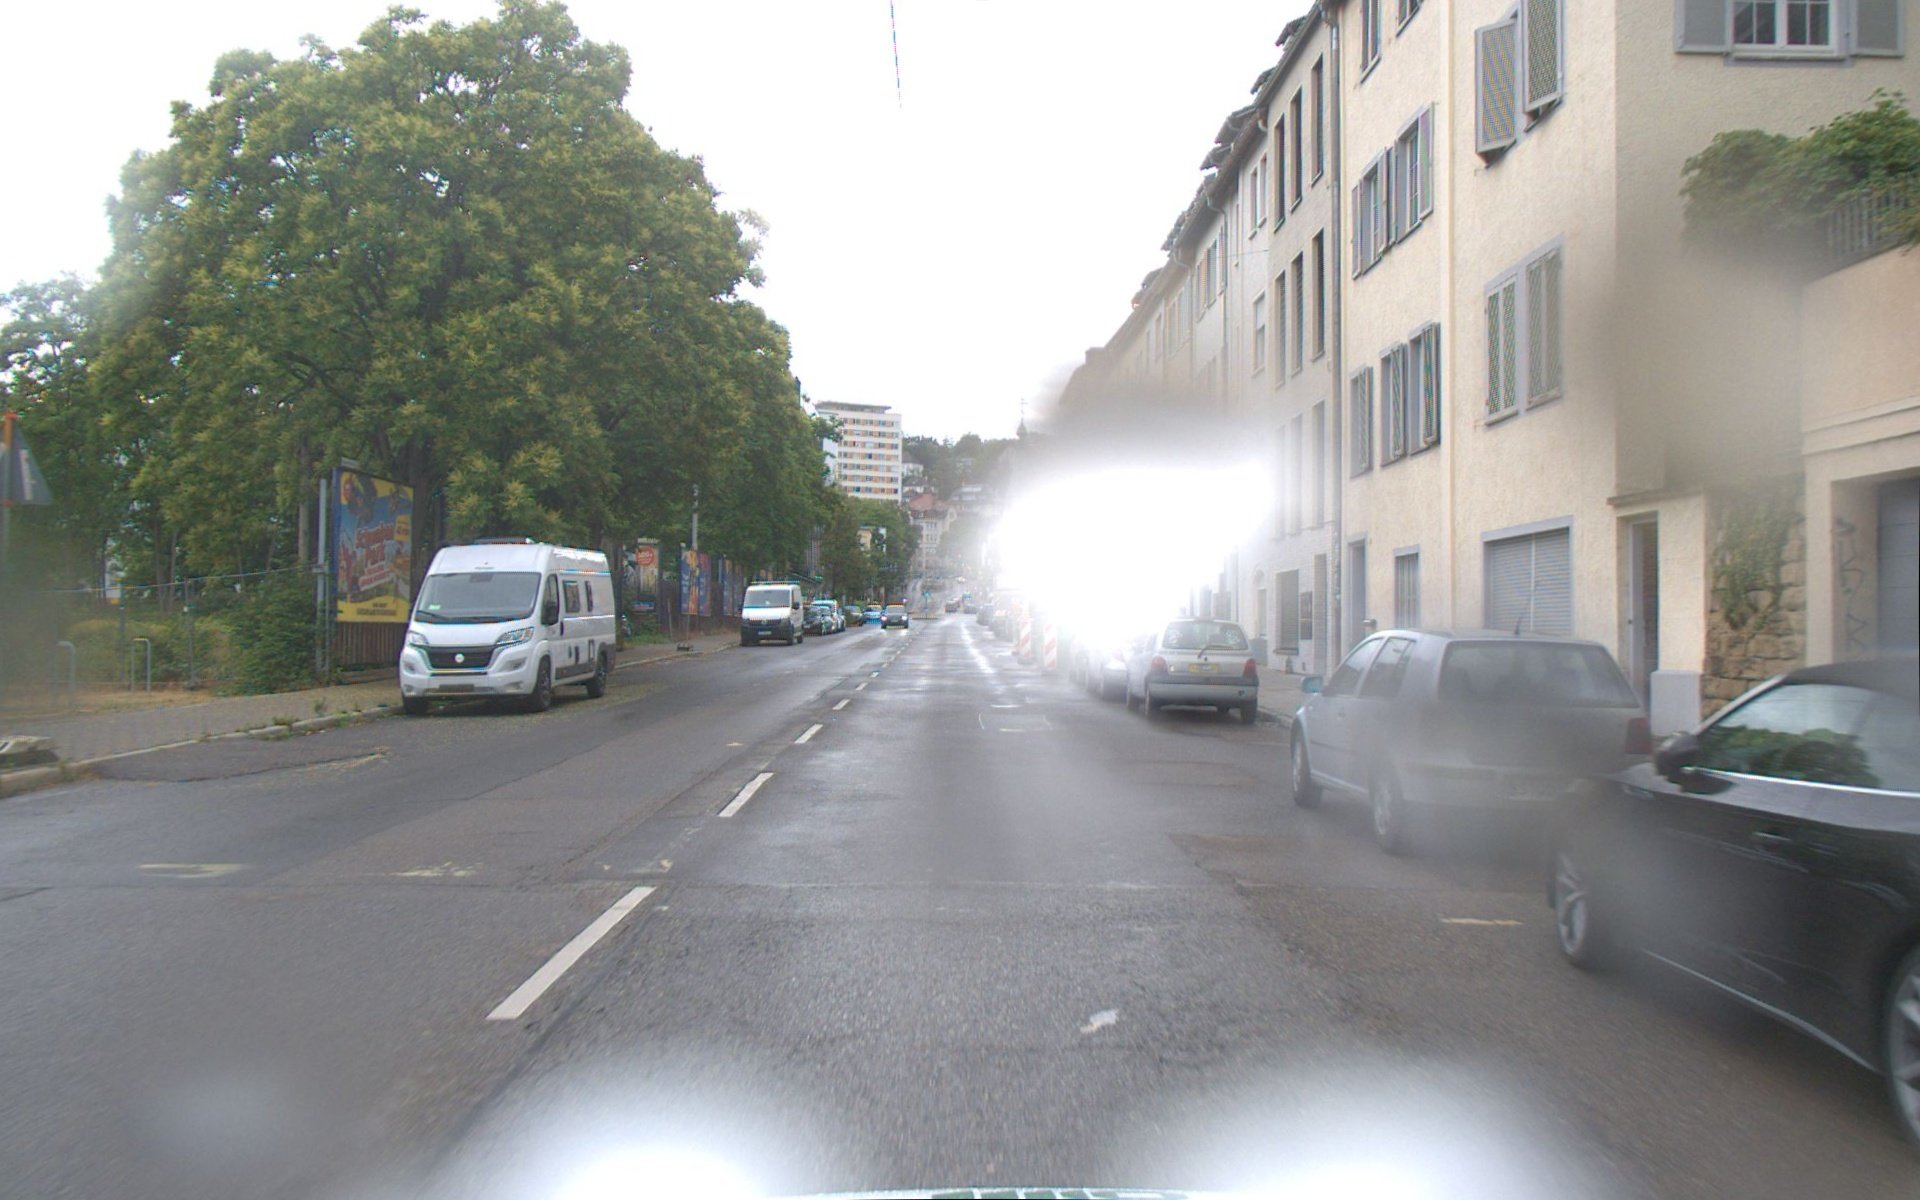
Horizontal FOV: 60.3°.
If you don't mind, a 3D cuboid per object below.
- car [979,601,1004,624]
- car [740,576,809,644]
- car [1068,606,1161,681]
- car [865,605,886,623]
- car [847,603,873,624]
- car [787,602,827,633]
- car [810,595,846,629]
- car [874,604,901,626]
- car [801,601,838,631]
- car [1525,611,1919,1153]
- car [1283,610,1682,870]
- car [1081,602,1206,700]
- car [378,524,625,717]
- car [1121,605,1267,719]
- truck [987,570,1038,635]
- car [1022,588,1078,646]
[{"bbox_3d":[2.503,0.977,131.028,1.780,1.681,4.075,2,0,-1],"label":"car"},{"bbox_3d":[-7.242,0.358,65.100,1.970,2.530,5.983,-1,0,0],"label":"car"},{"bbox_3d":[3.256,0.879,35.351,1.593,1.435,3.842,2,0,0],"label":"car"},{"bbox_3d":[-6.965,1.184,136.696,1.675,1.476,4.293,0,-1,-1],"label":"car"},{"bbox_3d":[-7.303,0.989,121.071,1.767,1.476,4.655,0,-1,-3],"label":"car"},{"bbox_3d":[-7.425,0.862,80.381,1.648,1.423,3.909,-1,-1,-1],"label":"car"},{"bbox_3d":[-7.320,0.661,92.190,1.688,1.832,4.343,-1,-1,-1],"label":"car"},{"bbox_3d":[-4.826,0.986,109.705,1.769,1.440,4.381,0,0,-3],"label":"car"},{"bbox_3d":[-7.382,0.848,87.158,1.648,1.488,4.276,-1,-1,-1],"label":"car"},{"bbox_3d":[3.479,0.824,5.839,1.596,1.479,3.758,2,0,-1],"label":"car"},{"bbox_3d":[3.529,0.859,11.883,1.596,1.479,3.758,2,0,-1],"label":"car"},{"bbox_3d":[3.219,0.862,29.678,1.681,1.551,3.999,2,0,-1],"label":"car"},{"bbox_3d":[-7.047,0.267,26.295,2.185,2.624,6.536,-1,0,-1],"label":"car"},{"bbox_3d":[3.378,0.847,24.471,1.527,1.479,3.758,2,0,-1],"label":"car"},{"bbox_3d":[2.649,0.145,85.320,2.419,3.228,7.035,0,0,0],"label":"truck"},{"bbox_3d":[3.166,0.585,59.083,1.780,1.958,4.239,-1,0,0],"label":"car"}]
